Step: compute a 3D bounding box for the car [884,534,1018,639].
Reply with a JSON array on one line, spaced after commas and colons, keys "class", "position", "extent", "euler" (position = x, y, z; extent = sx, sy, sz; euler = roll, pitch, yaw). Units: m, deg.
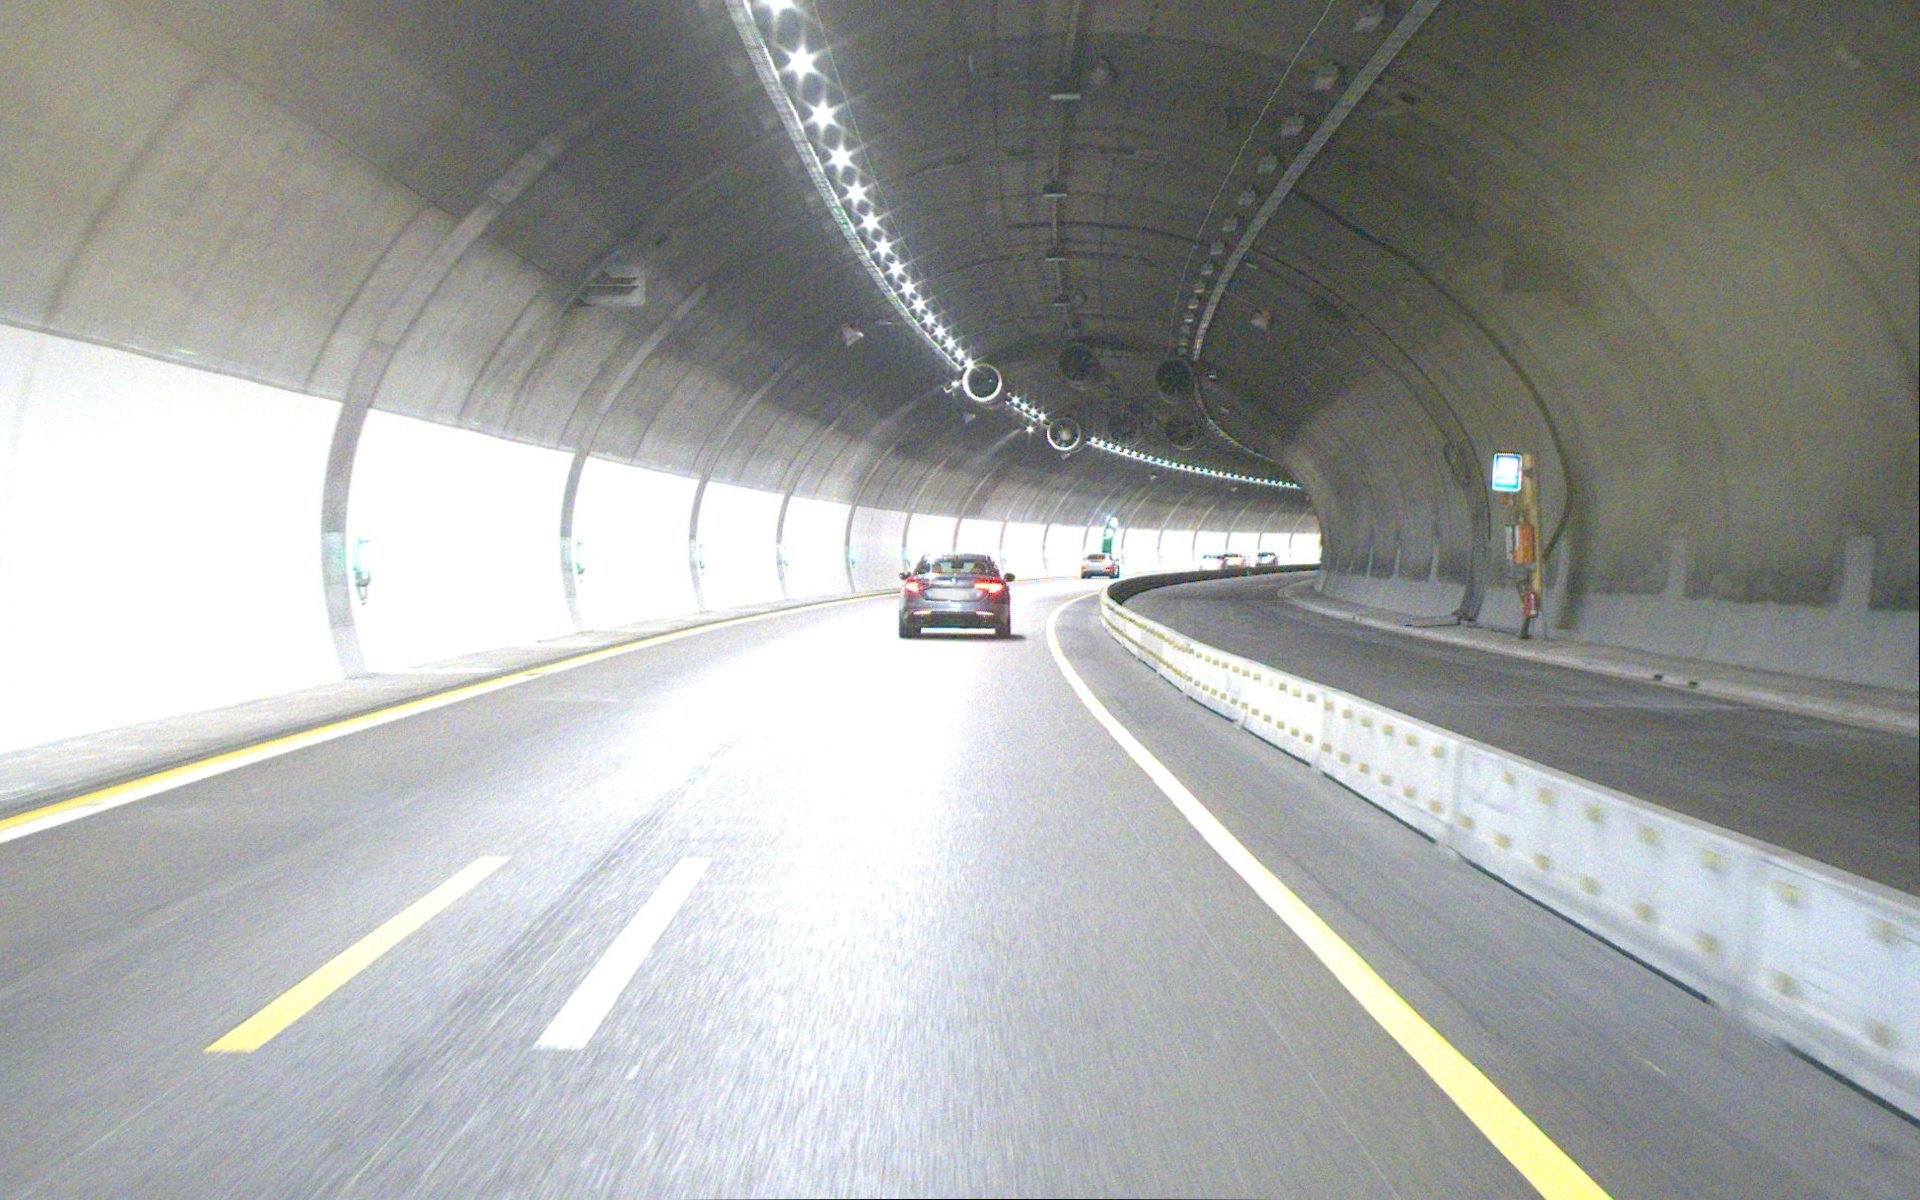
[{"class": "car", "position": [-0.114, -0.263, 58.649], "extent": [2.141, 1.700, 4.000], "euler": [1, 1, 2]}]

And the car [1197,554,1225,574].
[{"class": "car", "position": [17.180, -2.487, 235.282], "extent": [1.595, 1.328, 3.749], "euler": [1, 1, 8]}]

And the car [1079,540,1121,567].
[{"class": "car", "position": [7.902, -2.627, 193.855], "extent": [2.165, 1.481, 3.999], "euler": [1, 1, 5]}]
